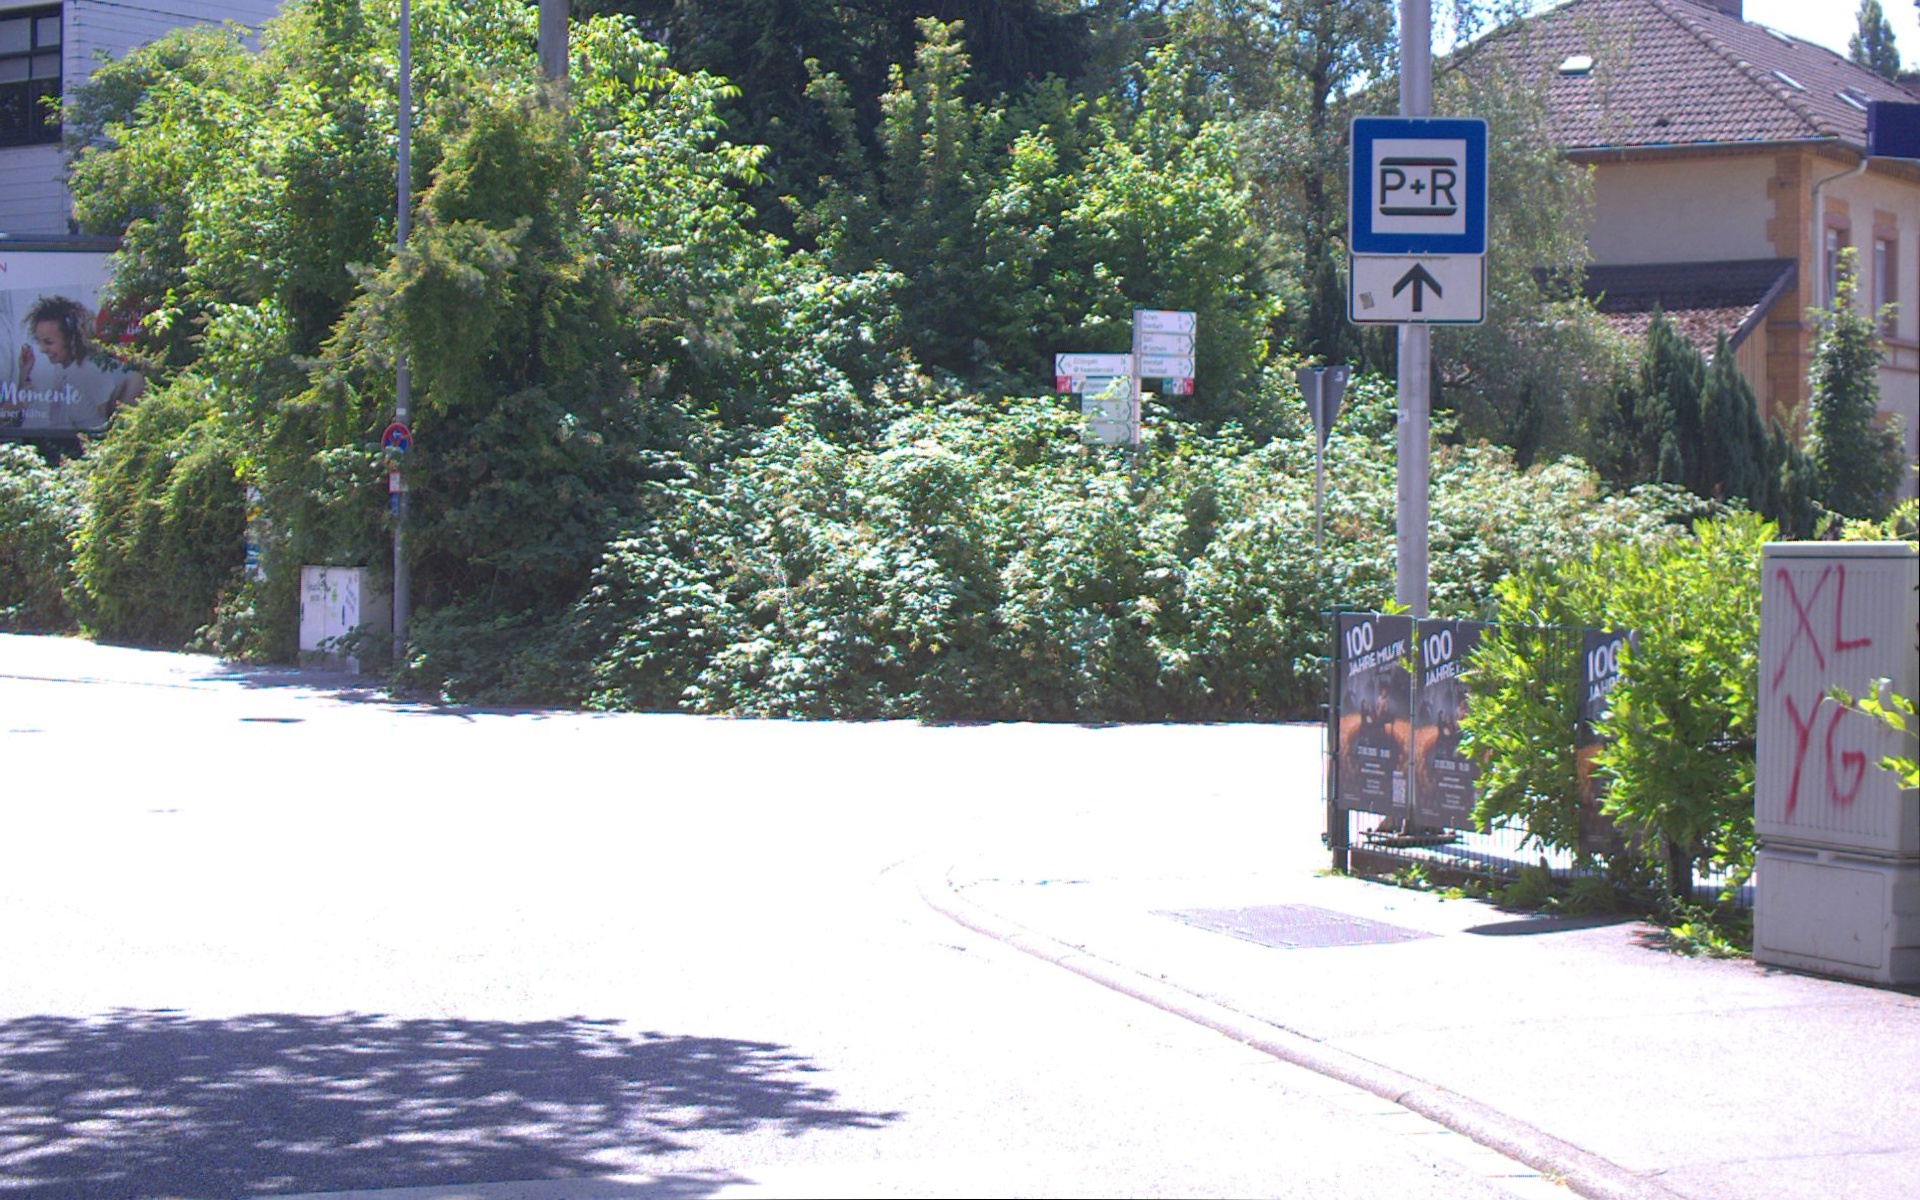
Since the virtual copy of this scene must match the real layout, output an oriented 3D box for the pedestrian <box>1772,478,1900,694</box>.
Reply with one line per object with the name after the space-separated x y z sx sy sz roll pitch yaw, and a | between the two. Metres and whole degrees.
6.754 -0.118 26.524 0.615 1.622 0.701 0 3 -22 | pedestrian
